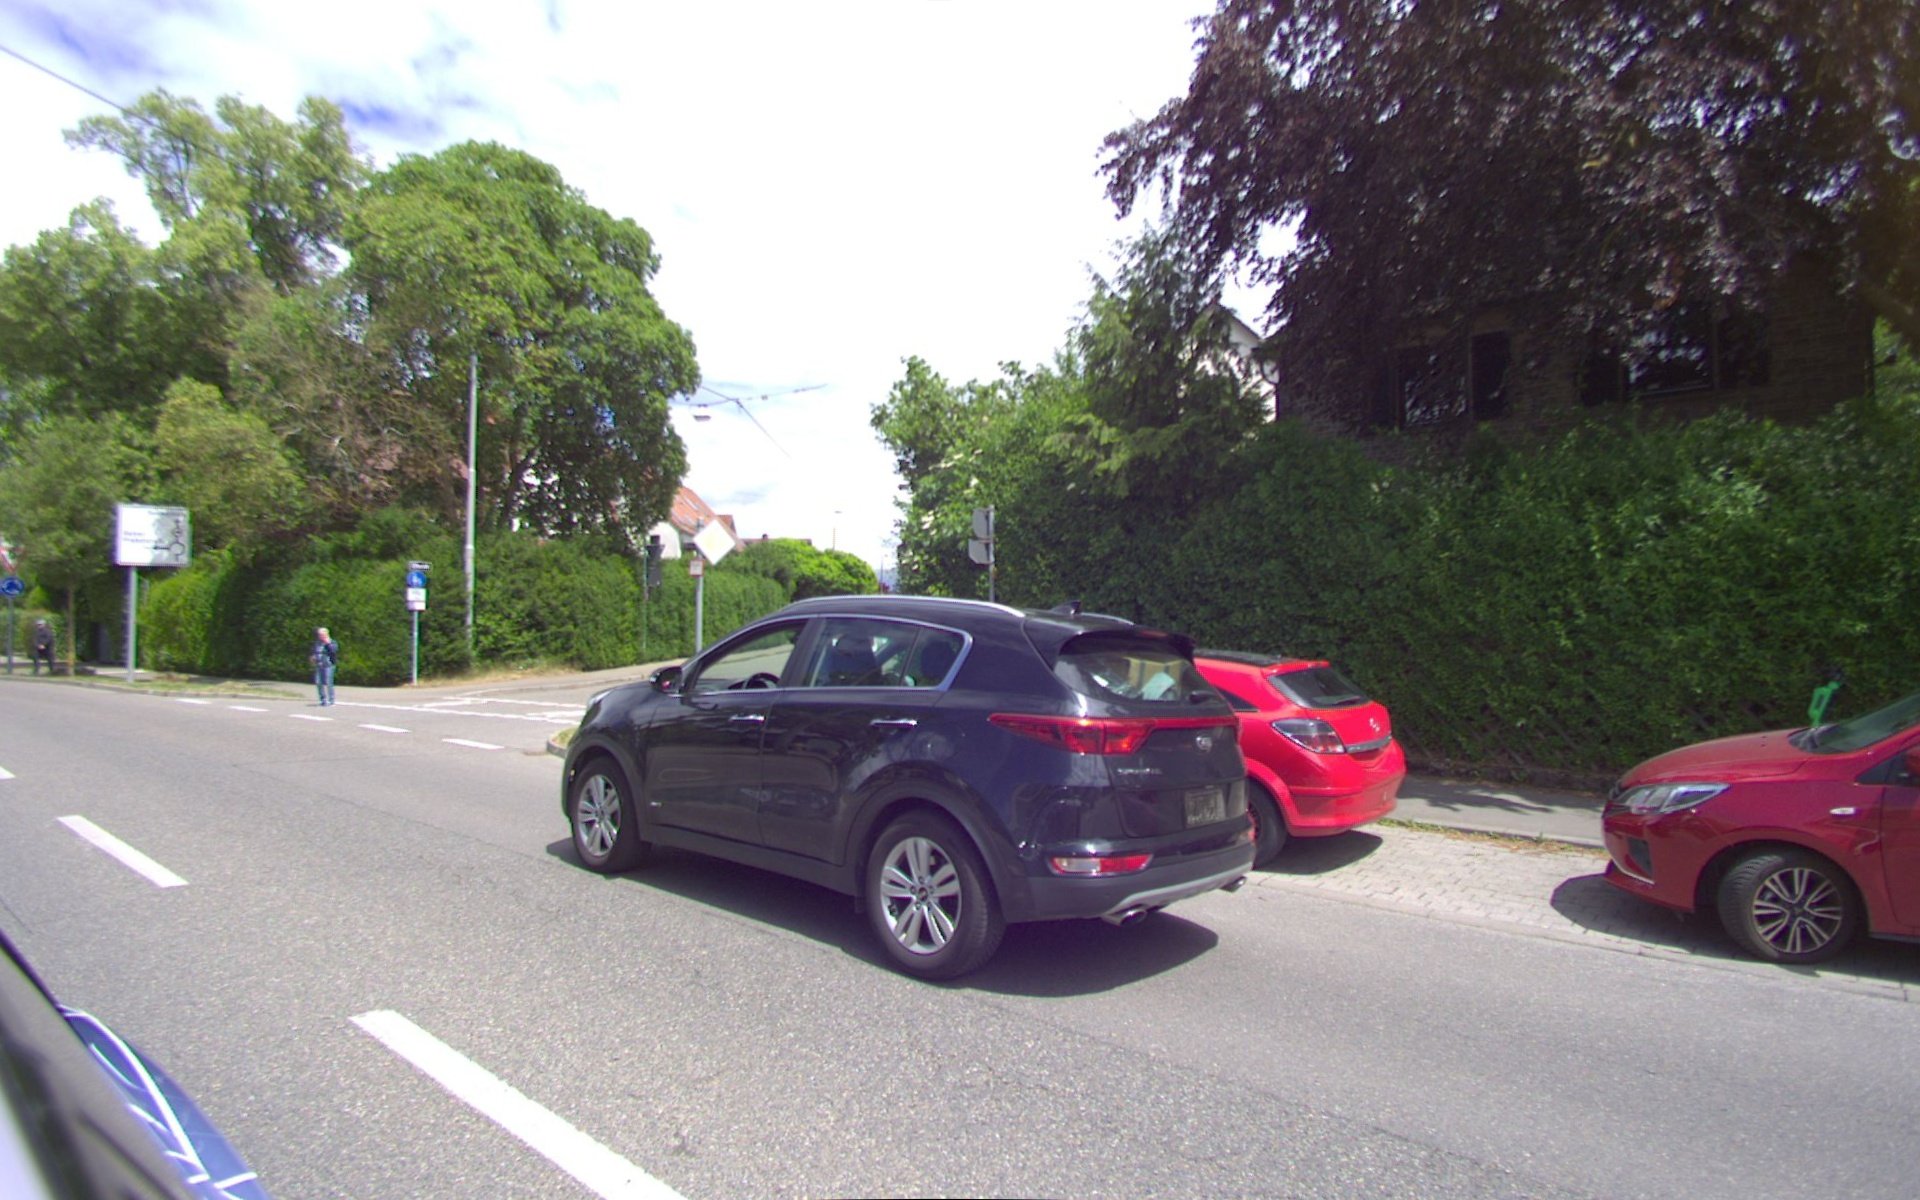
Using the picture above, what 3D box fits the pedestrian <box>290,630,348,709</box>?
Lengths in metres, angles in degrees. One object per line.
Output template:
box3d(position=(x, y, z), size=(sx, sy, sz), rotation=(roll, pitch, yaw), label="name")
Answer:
box3d(position=(-12.582, 1.350, 19.876), size=(0.620, 1.520, 0.730), rotation=(0, -2, 4), label="pedestrian")

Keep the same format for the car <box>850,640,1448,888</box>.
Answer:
box3d(position=(1.258, 1.062, 8.176), size=(4.564, 1.388, 1.643), rotation=(-1, -1, 42), label="car")

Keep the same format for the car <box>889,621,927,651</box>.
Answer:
box3d(position=(-3.322, 2.308, 65.599), size=(1.941, 1.885, 3.994), rotation=(0, -2, 5), label="car")

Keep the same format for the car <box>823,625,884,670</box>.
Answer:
box3d(position=(-3.665, 1.609, 35.347), size=(1.692, 1.466, 3.533), rotation=(0, -1, 2), label="car")

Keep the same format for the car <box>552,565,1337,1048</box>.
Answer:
box3d(position=(-0.347, 0.784, 5.522), size=(4.151, 1.629, 1.813), rotation=(-1, -4, 42), label="car")

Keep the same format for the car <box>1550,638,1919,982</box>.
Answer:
box3d(position=(5.216, 0.941, 4.648), size=(4.102, 1.461, 1.632), rotation=(-1, -1, 41), label="car")

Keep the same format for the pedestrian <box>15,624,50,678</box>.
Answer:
box3d(position=(-29.919, 1.641, 32.646), size=(0.694, 1.704, 0.736), rotation=(-1, -2, 40), label="pedestrian")

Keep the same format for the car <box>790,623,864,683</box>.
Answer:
box3d(position=(-3.667, 1.450, 28.314), size=(1.569, 1.567, 2.775), rotation=(0, -1, 3), label="car")

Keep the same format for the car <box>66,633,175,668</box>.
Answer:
box3d(position=(-38.556, 2.336, 46.529), size=(1.664, 1.408, 3.531), rotation=(-1, -6, 39), label="car")

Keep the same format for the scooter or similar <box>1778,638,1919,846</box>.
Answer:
box3d(position=(6.911, 0.987, 7.188), size=(1.649, 1.423, 0.663), rotation=(-2, -2, 43), label="scooter or similar")

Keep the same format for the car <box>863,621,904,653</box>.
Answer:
box3d(position=(-3.548, 1.702, 47.324), size=(1.682, 1.416, 4.281), rotation=(0, -1, -1), label="car")
